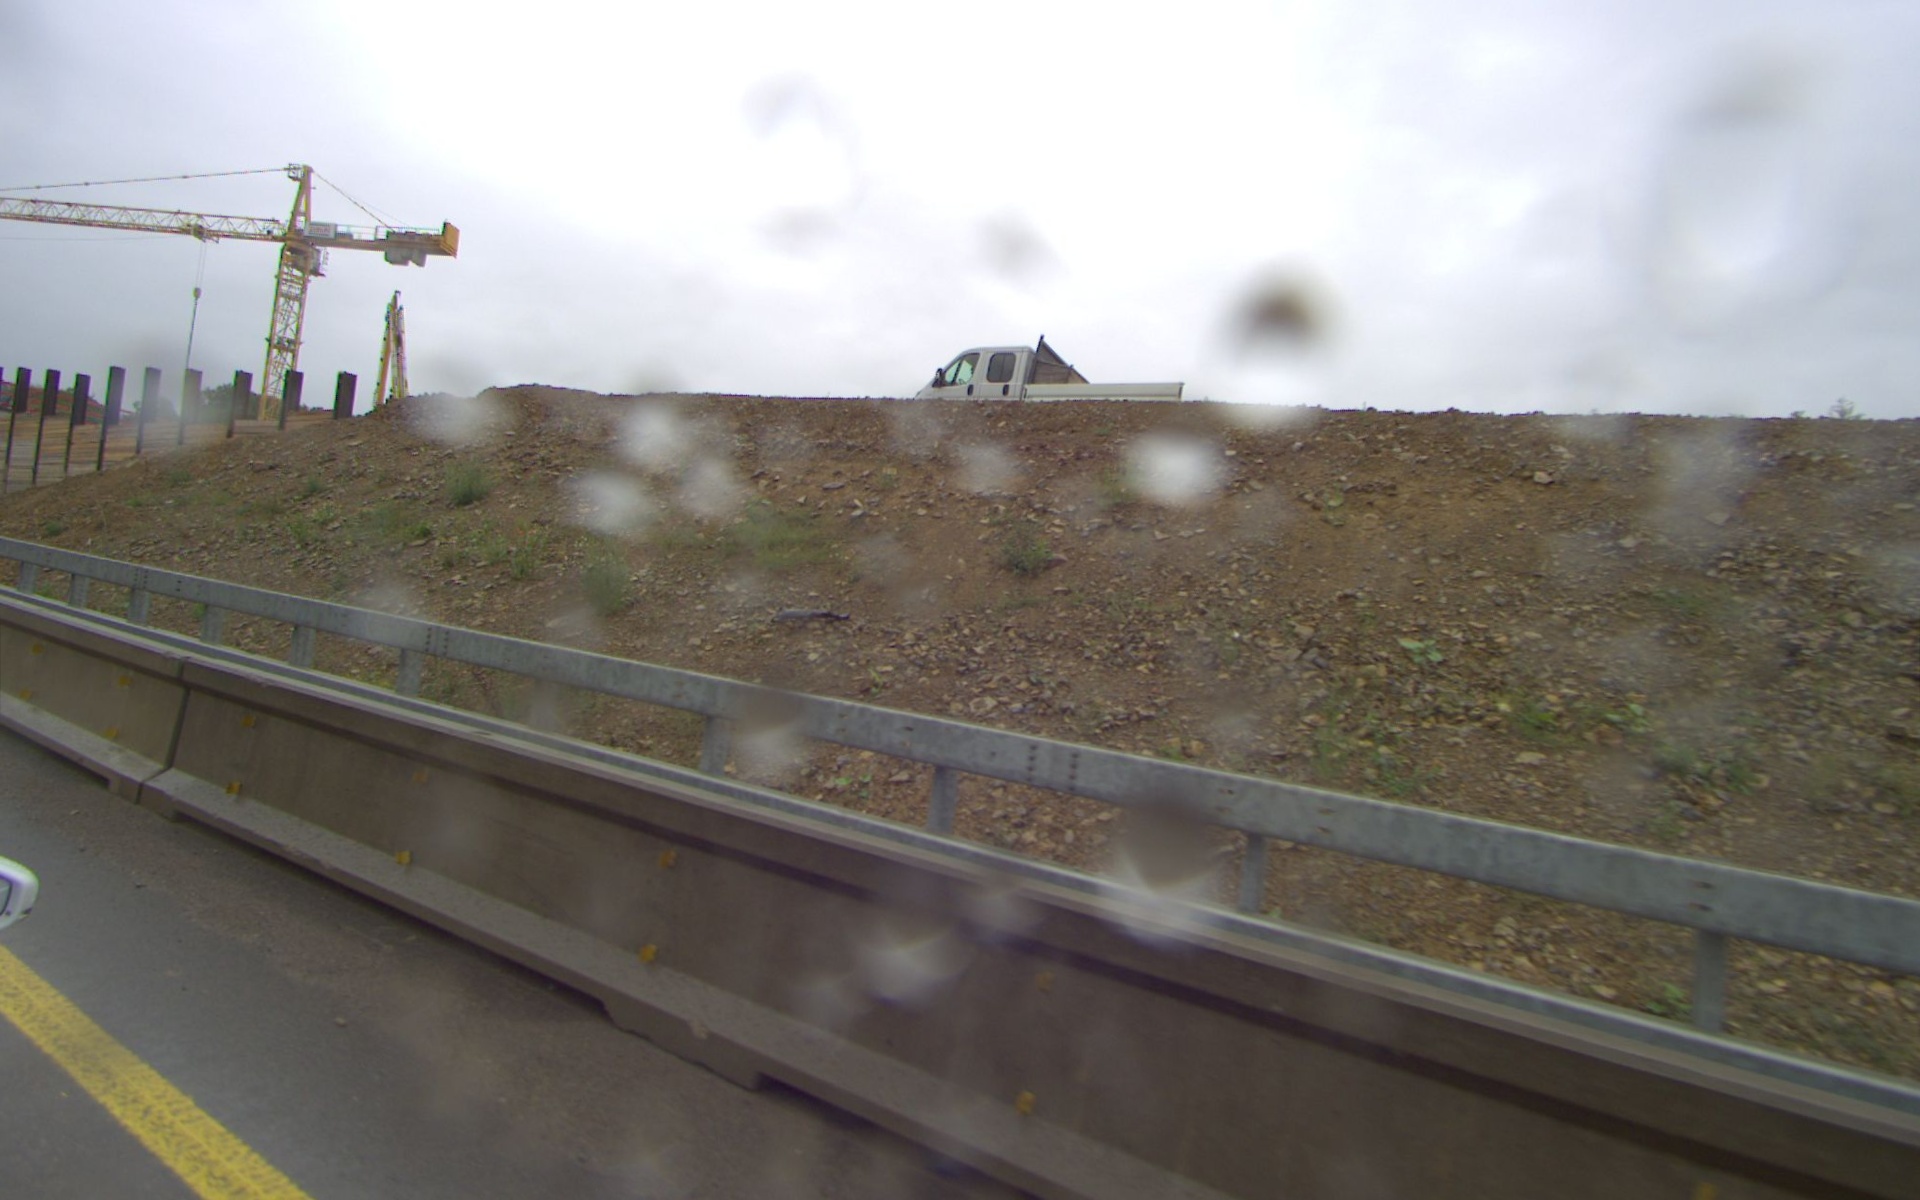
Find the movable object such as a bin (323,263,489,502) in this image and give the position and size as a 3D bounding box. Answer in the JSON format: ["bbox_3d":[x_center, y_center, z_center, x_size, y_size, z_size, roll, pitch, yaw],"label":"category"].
[{"bbox_3d":[-30.952,-11.488,55.923,4.705,10.969,10.179,7,-2,-44],"label":"movable object such as a bin"}]

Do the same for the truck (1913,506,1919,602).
[{"bbox_3d":[19.289,-2.018,15.624,5.880,4.268,2.377,4,-2,31],"label":"truck"}]

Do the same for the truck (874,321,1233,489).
[{"bbox_3d":[1.858,-3.864,21.108,6.869,2.584,2.650,4,-2,31],"label":"truck"}]
